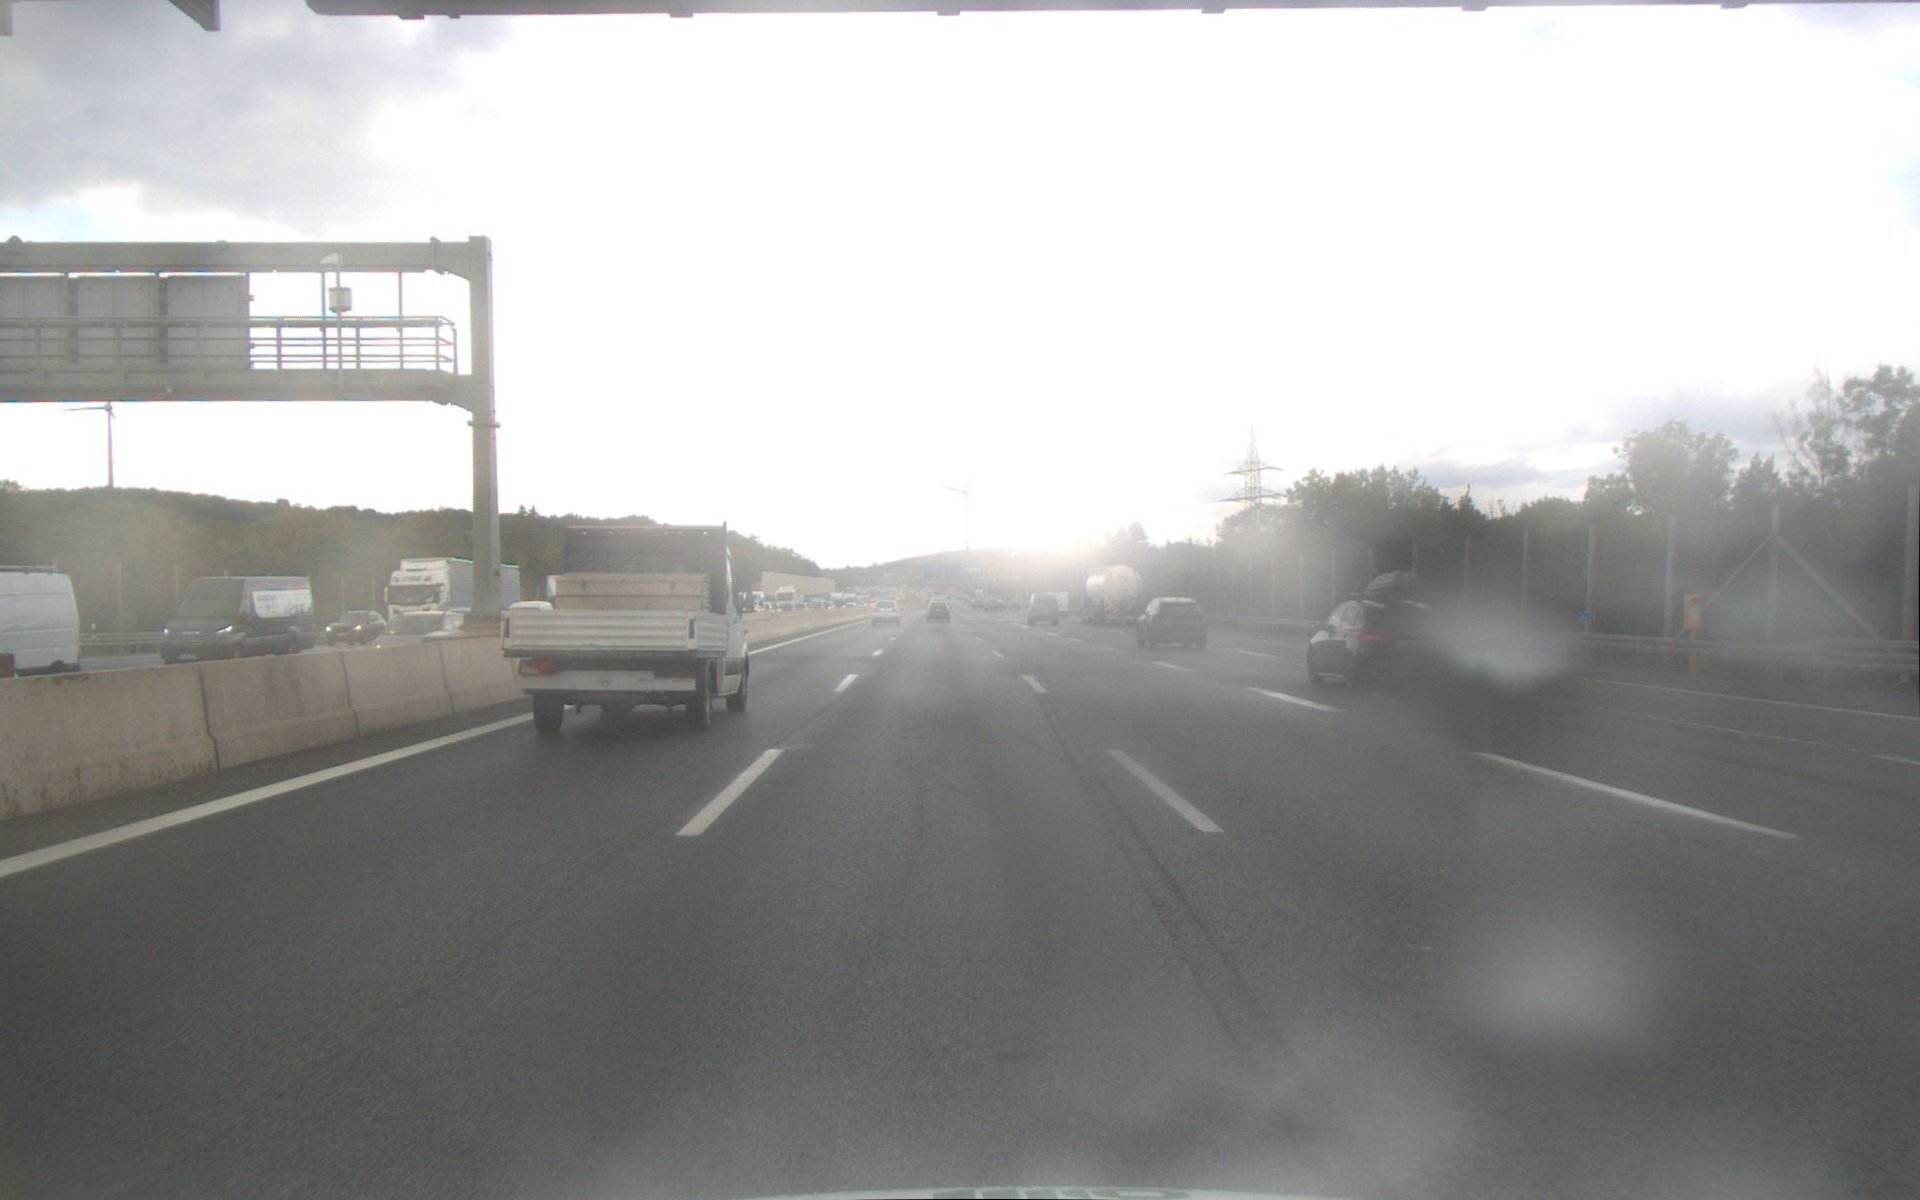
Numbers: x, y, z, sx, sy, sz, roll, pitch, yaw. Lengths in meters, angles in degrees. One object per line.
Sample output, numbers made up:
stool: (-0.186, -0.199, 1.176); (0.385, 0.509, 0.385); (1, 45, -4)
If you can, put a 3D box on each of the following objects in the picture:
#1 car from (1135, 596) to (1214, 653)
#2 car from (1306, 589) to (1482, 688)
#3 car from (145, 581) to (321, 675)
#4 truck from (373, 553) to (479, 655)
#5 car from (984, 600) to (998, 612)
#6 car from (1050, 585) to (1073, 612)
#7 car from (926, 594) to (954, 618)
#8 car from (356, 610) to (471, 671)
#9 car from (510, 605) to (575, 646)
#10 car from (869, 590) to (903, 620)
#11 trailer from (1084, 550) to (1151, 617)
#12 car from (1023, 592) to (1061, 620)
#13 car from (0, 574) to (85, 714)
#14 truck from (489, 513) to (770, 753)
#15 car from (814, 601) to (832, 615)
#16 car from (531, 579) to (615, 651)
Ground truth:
car: (7.013, 0.767, 54.444); (2.003, 1.729, 5.007); (0, 1, 1)
car: (7.740, 0.655, 30.009); (2.061, 1.634, 5.067); (0, 0, 3)
car: (-21.586, 0.770, 49.567); (2.225, 2.591, 7.355); (0, 0, -2)
truck: (-27.074, 0.176, 84.302); (3.084, 4.941, 8.024); (0, 0, -2)
car: (4.501, 0.932, 243.267); (2.003, 1.729, 4.000); (0, 1, 0)
car: (9.860, -0.145, 160.994); (2.003, 2.541, 3.999); (0, 1, -1)
car: (-1.470, 0.428, 120.933); (2.003, 1.729, 4.000); (0, 1, 0)
car: (-14.468, 1.041, 44.019); (1.723, 1.463, 4.392); (0, 0, -2)
car: (-18.164, 1.077, 72.070); (1.677, 1.696, 4.795); (0, 0, -1)
car: (-4.520, 0.289, 101.368); (2.003, 1.729, 3.999); (0, 1, -1)
trailer: (10.500, -1.064, 111.659); (3.265, 4.249, 11.836); (0, 0, -1)
car: (5.331, 0.365, 107.954); (2.056, 1.729, 3.997); (0, 1, -4)
car: (-18.394, 0.809, 29.787); (2.158, 2.532, 6.063); (-1, 1, -2)
truck: (-3.817, 0.306, 20.707); (2.306, 2.450, 7.355); (1, 1, -2)
car: (-16.093, 0.949, 194.595); (1.856, 1.652, 4.844); (0, 0, -1)
car: (-18.871, 0.665, 81.060); (2.447, 3.358, 7.625); (0, 0, -1)
